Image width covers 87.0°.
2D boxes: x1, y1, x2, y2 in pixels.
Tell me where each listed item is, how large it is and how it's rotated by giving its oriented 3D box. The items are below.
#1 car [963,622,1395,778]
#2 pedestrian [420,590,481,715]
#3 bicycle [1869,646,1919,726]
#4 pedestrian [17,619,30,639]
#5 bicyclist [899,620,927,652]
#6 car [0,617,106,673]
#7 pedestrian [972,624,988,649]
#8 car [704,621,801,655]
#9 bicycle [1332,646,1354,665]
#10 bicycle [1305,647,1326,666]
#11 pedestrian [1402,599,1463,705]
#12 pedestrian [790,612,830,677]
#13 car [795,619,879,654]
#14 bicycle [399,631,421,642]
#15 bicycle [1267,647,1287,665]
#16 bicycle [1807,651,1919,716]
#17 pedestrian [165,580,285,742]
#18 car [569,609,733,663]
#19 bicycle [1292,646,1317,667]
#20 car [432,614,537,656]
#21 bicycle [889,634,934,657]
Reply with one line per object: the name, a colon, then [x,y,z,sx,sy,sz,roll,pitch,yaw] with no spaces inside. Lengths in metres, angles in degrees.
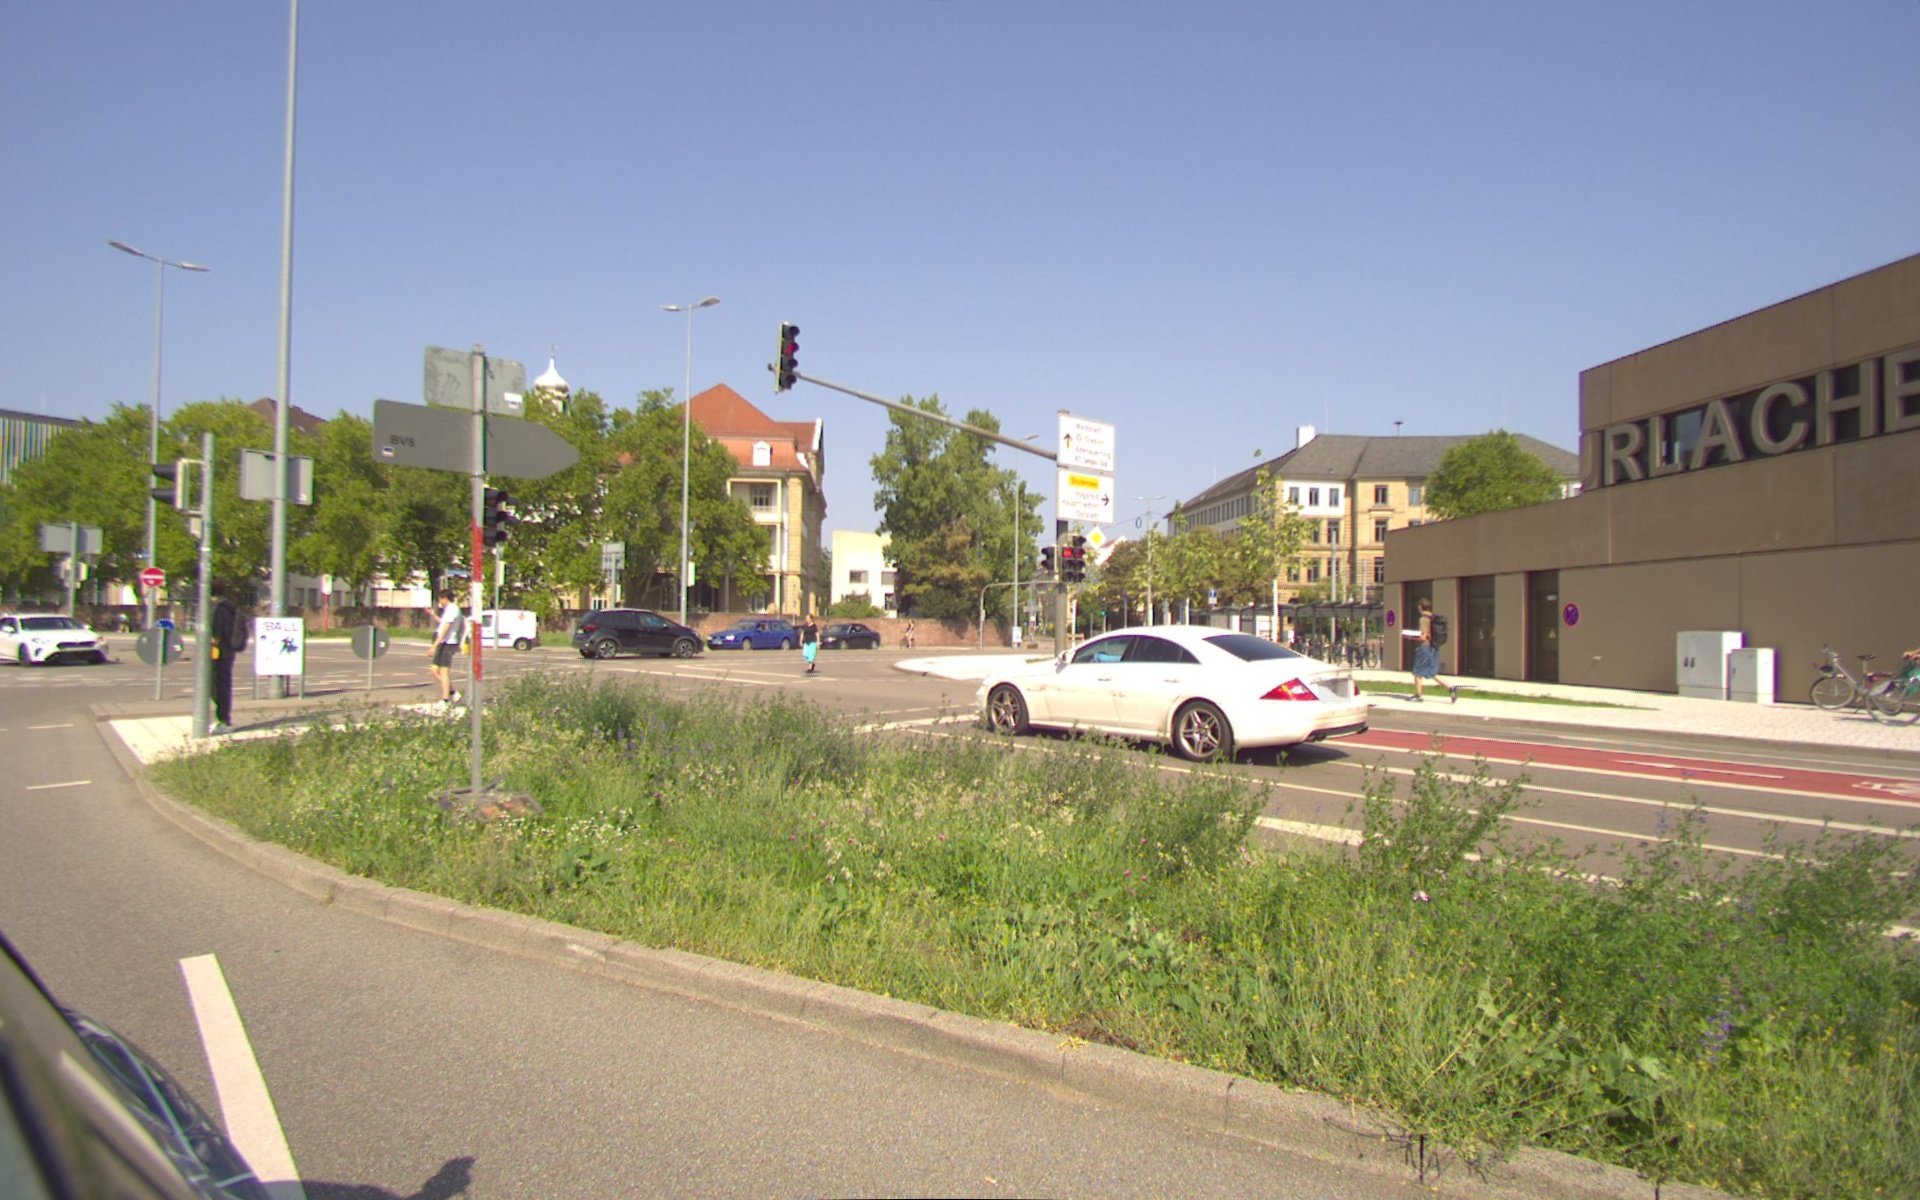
car: [2.327,0.985,11.892,1.820,1.372,4.825,0,0,-42]
pedestrian: [-7.727,0.782,15.350,0.683,1.847,0.571,2,-2,-38]
bicycle: [13.783,1.218,13.930,0.555,1.072,1.852,0,0,-44]
pedestrian: [-78.248,2.421,84.573,0.588,1.664,0.481,-2,-4,13]
bicyclist: [-2.651,2.029,57.068,0.885,1.759,1.353,-4,-4,34]
car: [-26.059,1.229,28.658,3.850,1.447,1.698,0,0,31]
pedestrian: [1.611,2.957,81.721,0.821,2.029,0.894,-5,-5,44]
car: [-8.597,1.588,42.264,1.601,1.339,4.290,0,-2,29]
bicycle: [18.897,2.712,49.937,0.404,0.899,1.589,1,-2,-4]
bicycle: [17.500,2.772,49.823,0.404,0.899,1.589,1,-2,-4]
pedestrian: [8.165,0.880,17.521,0.872,1.773,0.674,-1,0,21]
pedestrian: [-3.731,1.103,25.214,0.746,1.577,0.664,2,-2,13]
car: [-5.738,1.716,47.675,1.992,1.564,3.959,0,-2,30]
bicycle: [-42.057,2.768,77.370,1.531,0.842,0.433,0,-2,6]
bicycle: [16.130,2.847,51.477,0.404,0.899,1.589,1,-2,-4]
bicycle: [14.915,1.336,16.540,0.651,0.963,1.615,-1,-2,-6]
pedestrian: [-8.899,0.721,12.260,1.066,1.854,0.731,2,-3,-41]
car: [-9.781,1.139,32.236,4.639,1.590,1.857,2,-2,-39]
bicycle: [16.636,2.713,48.932,0.525,0.994,1.715,1,-2,-4]
car: [-20.107,1.495,42.991,3.930,1.691,1.762,0,-4,-22]
bicycle: [-2.689,2.570,56.959,0.885,1.214,3.043,-4,-4,33]
